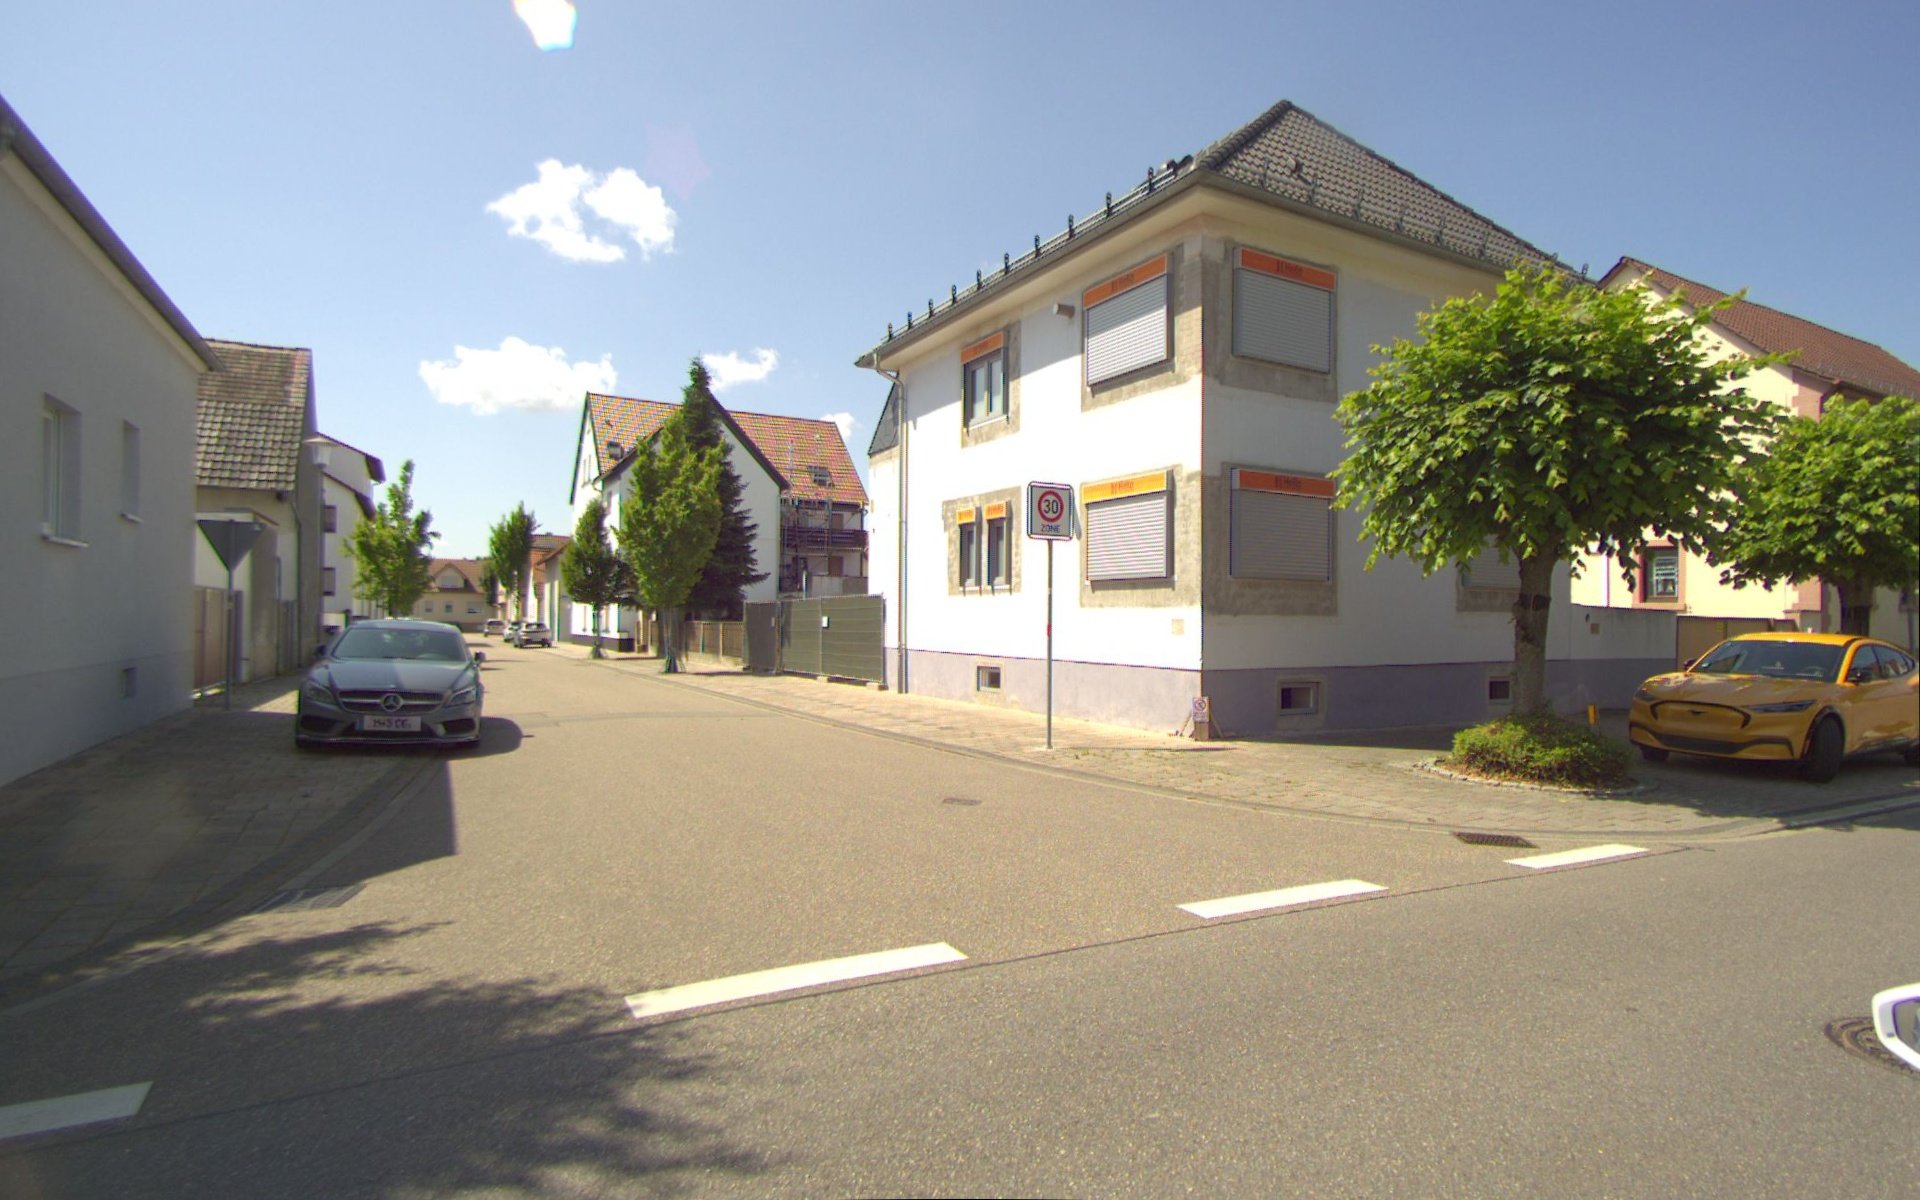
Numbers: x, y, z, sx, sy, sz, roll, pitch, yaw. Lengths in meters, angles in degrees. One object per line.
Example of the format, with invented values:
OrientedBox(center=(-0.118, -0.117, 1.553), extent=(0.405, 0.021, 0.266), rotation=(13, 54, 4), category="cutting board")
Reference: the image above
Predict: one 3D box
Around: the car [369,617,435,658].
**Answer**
OrientedBox(center=(-22.074, 1.466, 39.870), extent=(1.974, 1.468, 4.323), rotation=(3, -2, -26), category="car")

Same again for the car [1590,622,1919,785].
OrientedBox(center=(10.215, 1.154, 12.525), extent=(4.631, 1.633, 1.985), rotation=(1, 0, -29), category="car")

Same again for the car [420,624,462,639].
OrientedBox(center=(-60.536, 3.662, 117.148), extent=(4.211, 1.644, 1.985), rotation=(2, 0, -29), category="car")

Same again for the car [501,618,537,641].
OrientedBox(center=(-30.080, 2.005, 68.480), extent=(1.903, 1.468, 4.011), rotation=(3, -2, -27), category="car")

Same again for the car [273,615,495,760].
OrientedBox(center=(-6.968, 0.967, 12.574), extent=(1.974, 1.468, 4.323), rotation=(3, -2, -26), category="car")

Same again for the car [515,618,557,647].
OrientedBox(center=(-24.025, 1.824, 56.843), extent=(1.974, 1.468, 4.323), rotation=(3, -2, -26), category="car")

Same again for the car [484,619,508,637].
OrientedBox(center=(-41.772, 2.517, 90.368), extent=(1.734, 1.468, 3.245), rotation=(3, -2, -27), category="car")
